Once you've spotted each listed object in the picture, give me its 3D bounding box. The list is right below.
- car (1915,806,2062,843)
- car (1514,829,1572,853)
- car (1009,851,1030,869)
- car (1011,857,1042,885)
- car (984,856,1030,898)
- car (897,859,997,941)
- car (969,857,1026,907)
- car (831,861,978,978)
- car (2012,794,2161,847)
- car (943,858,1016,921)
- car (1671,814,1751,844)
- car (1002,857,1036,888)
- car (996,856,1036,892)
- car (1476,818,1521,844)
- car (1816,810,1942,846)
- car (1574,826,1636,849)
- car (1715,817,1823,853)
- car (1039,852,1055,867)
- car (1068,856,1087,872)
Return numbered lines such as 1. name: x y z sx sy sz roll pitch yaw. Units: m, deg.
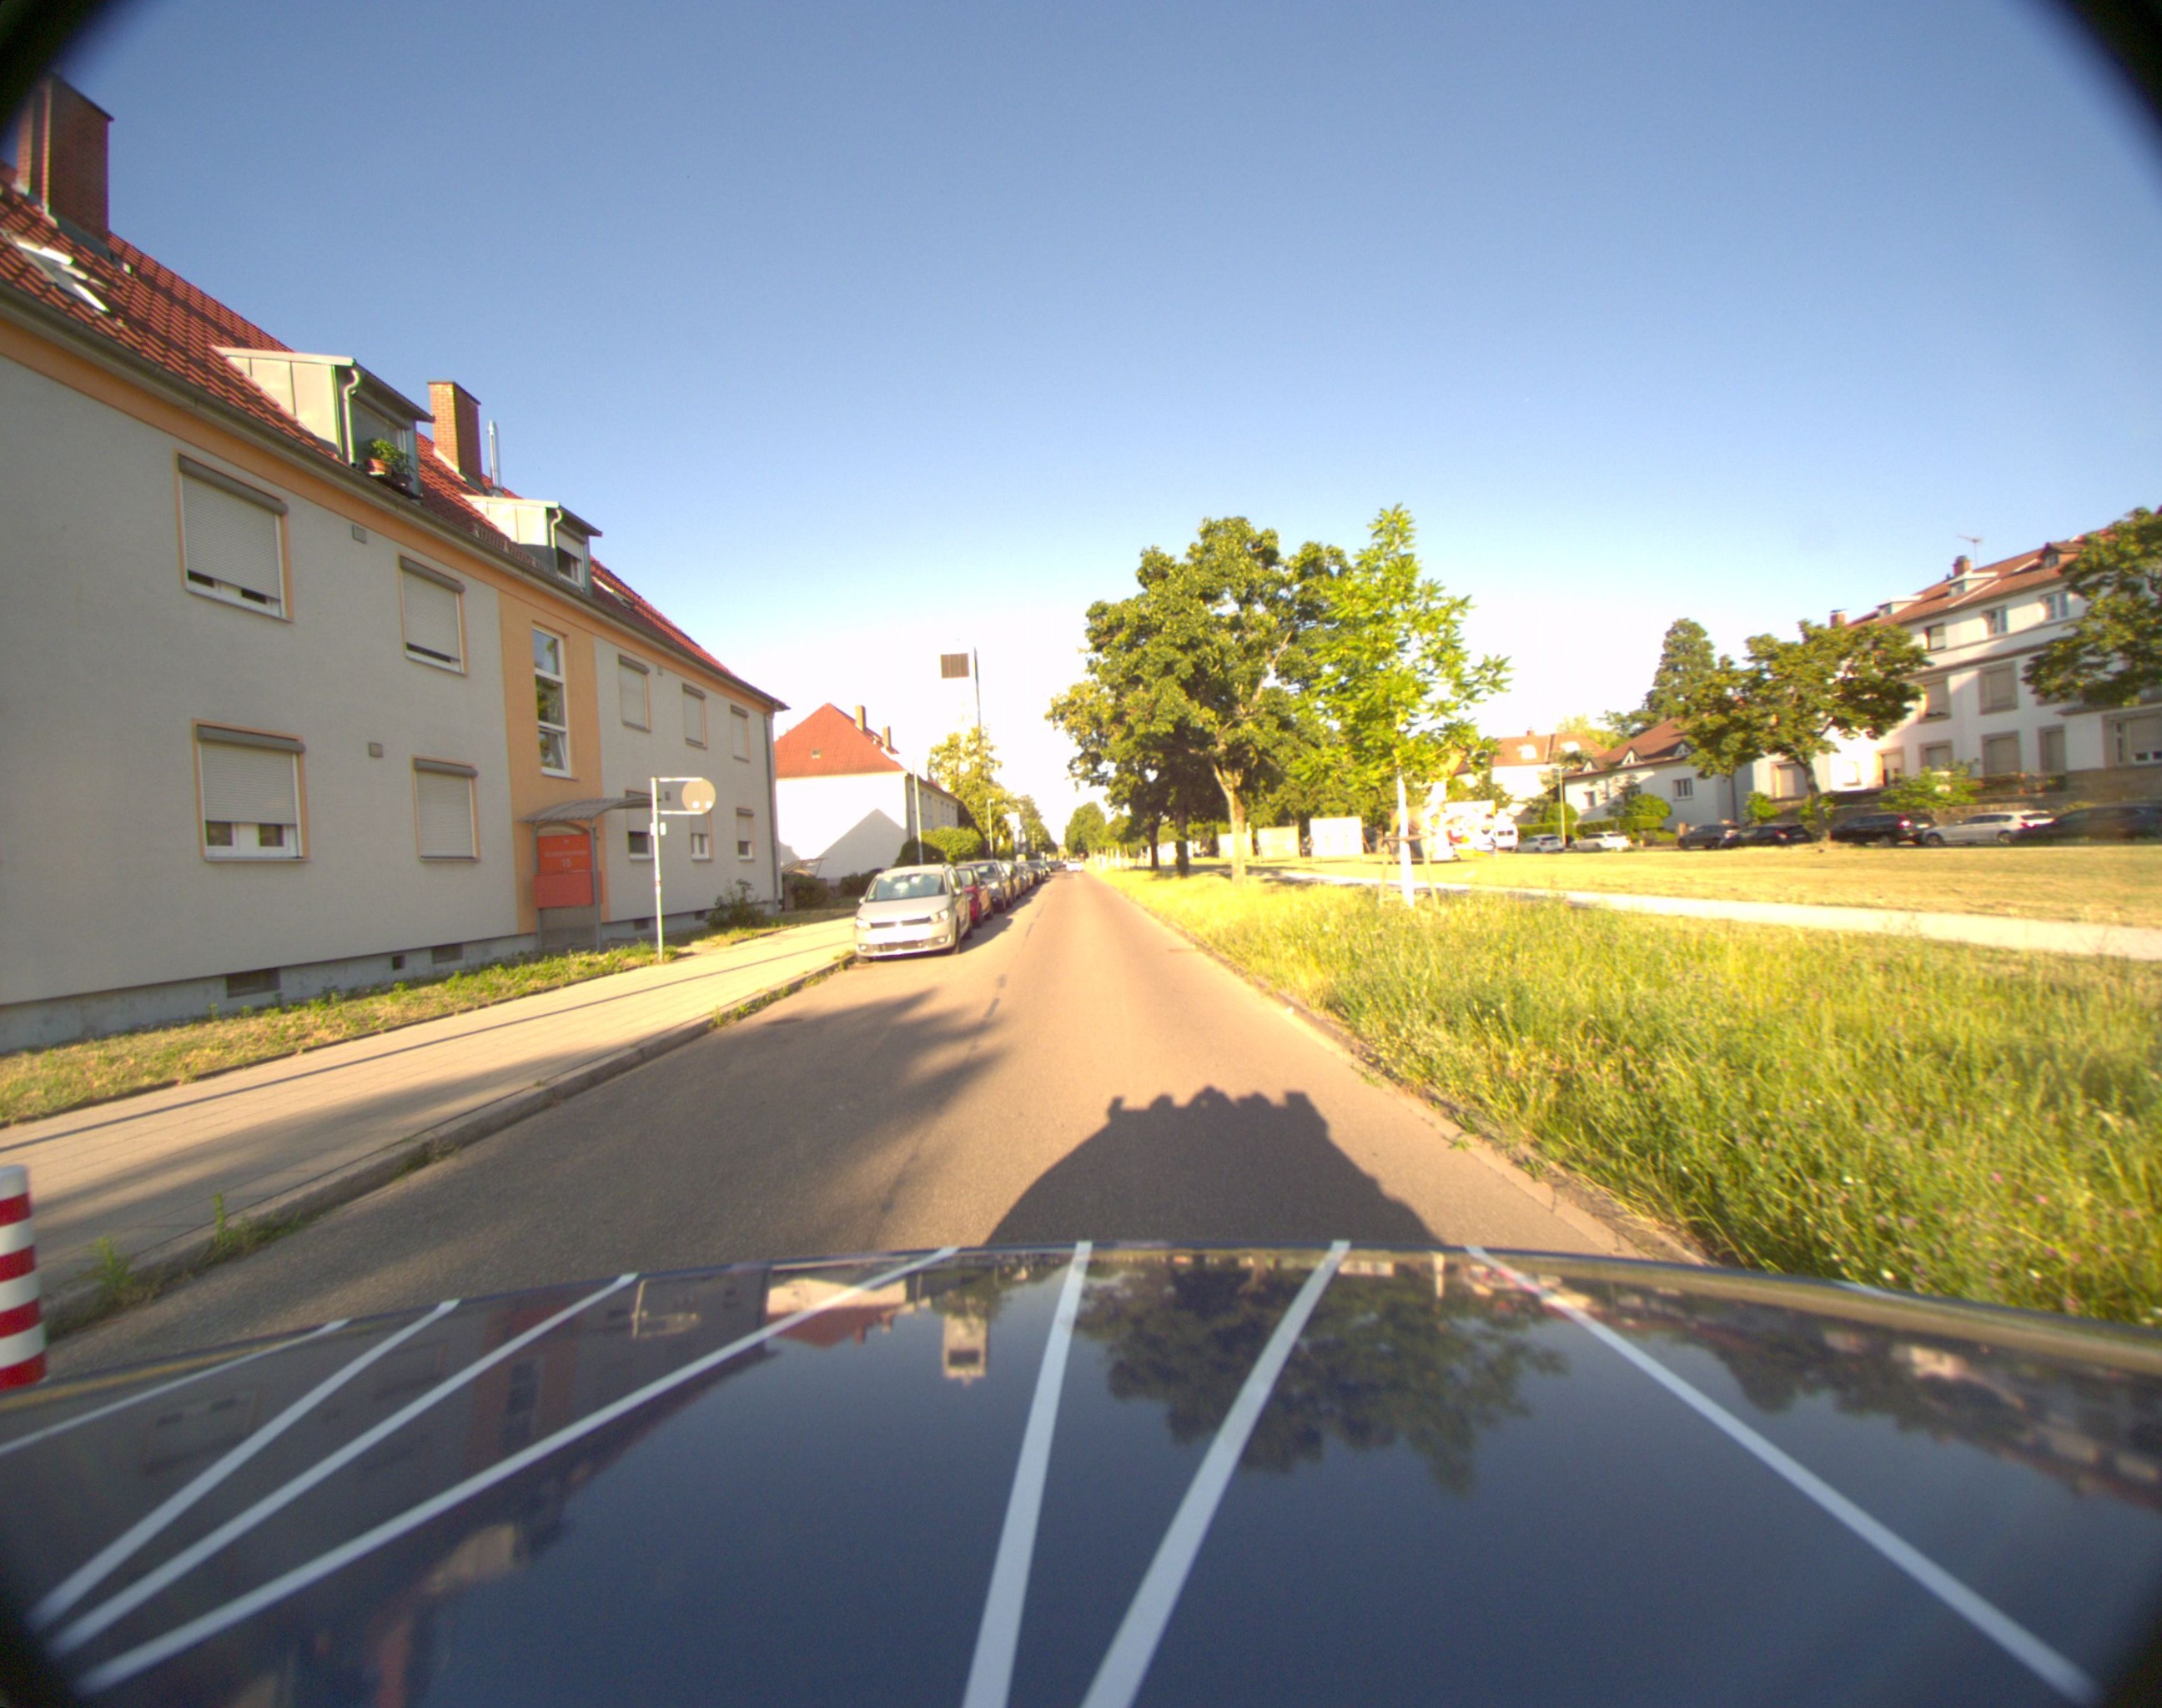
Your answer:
1. car: 39.724 -1.233 33.416 1.641 1.437 4.008 -2 0 -1
2. car: 33.733 -0.912 55.611 1.825 1.571 3.836 -3 0 -1
3. car: -6.243 0.571 77.297 1.850 1.686 3.999 -5 0 -3
4. car: -3.673 1.125 51.441 1.850 1.686 3.999 -5 0 -3
5. car: -3.438 1.044 35.972 1.850 1.686 3.999 -5 0 -3
6. car: -3.265 1.056 19.276 1.850 1.686 3.999 -5 0 -3
7. car: -3.276 1.067 30.500 1.850 1.686 3.999 -5 0 -3
8. car: -3.125 1.073 14.310 1.850 1.686 3.999 -5 0 -3
9. car: 33.687 -1.069 24.817 1.825 1.571 3.836 -3 0 -1
10. car: -3.194 1.060 24.572 1.850 1.686 3.999 -5 0 -3
11. car: 38.979 -1.496 47.154 1.642 1.652 4.000 -3 0 1
12. car: -3.786 1.104 46.961 1.850 1.686 3.999 -5 0 -3
13. car: -3.494 1.039 41.273 1.850 1.686 3.999 -5 0 -3
14. car: 39.124 -2.105 71.333 1.998 2.201 4.131 -3 0 2
15. car: 39.660 -1.256 37.928 1.825 1.571 4.162 -3 0 -1
16. car: 39.498 -1.225 57.398 1.825 1.571 3.967 -3 0 -1
17. car: 33.836 -0.889 37.521 1.825 1.571 3.836 -3 0 -1
18. car: -4.312 0.687 96.849 1.850 1.686 3.999 -5 0 -3
19. car: -0.440 1.218 90.426 1.870 1.686 4.299 -5 0 -3
